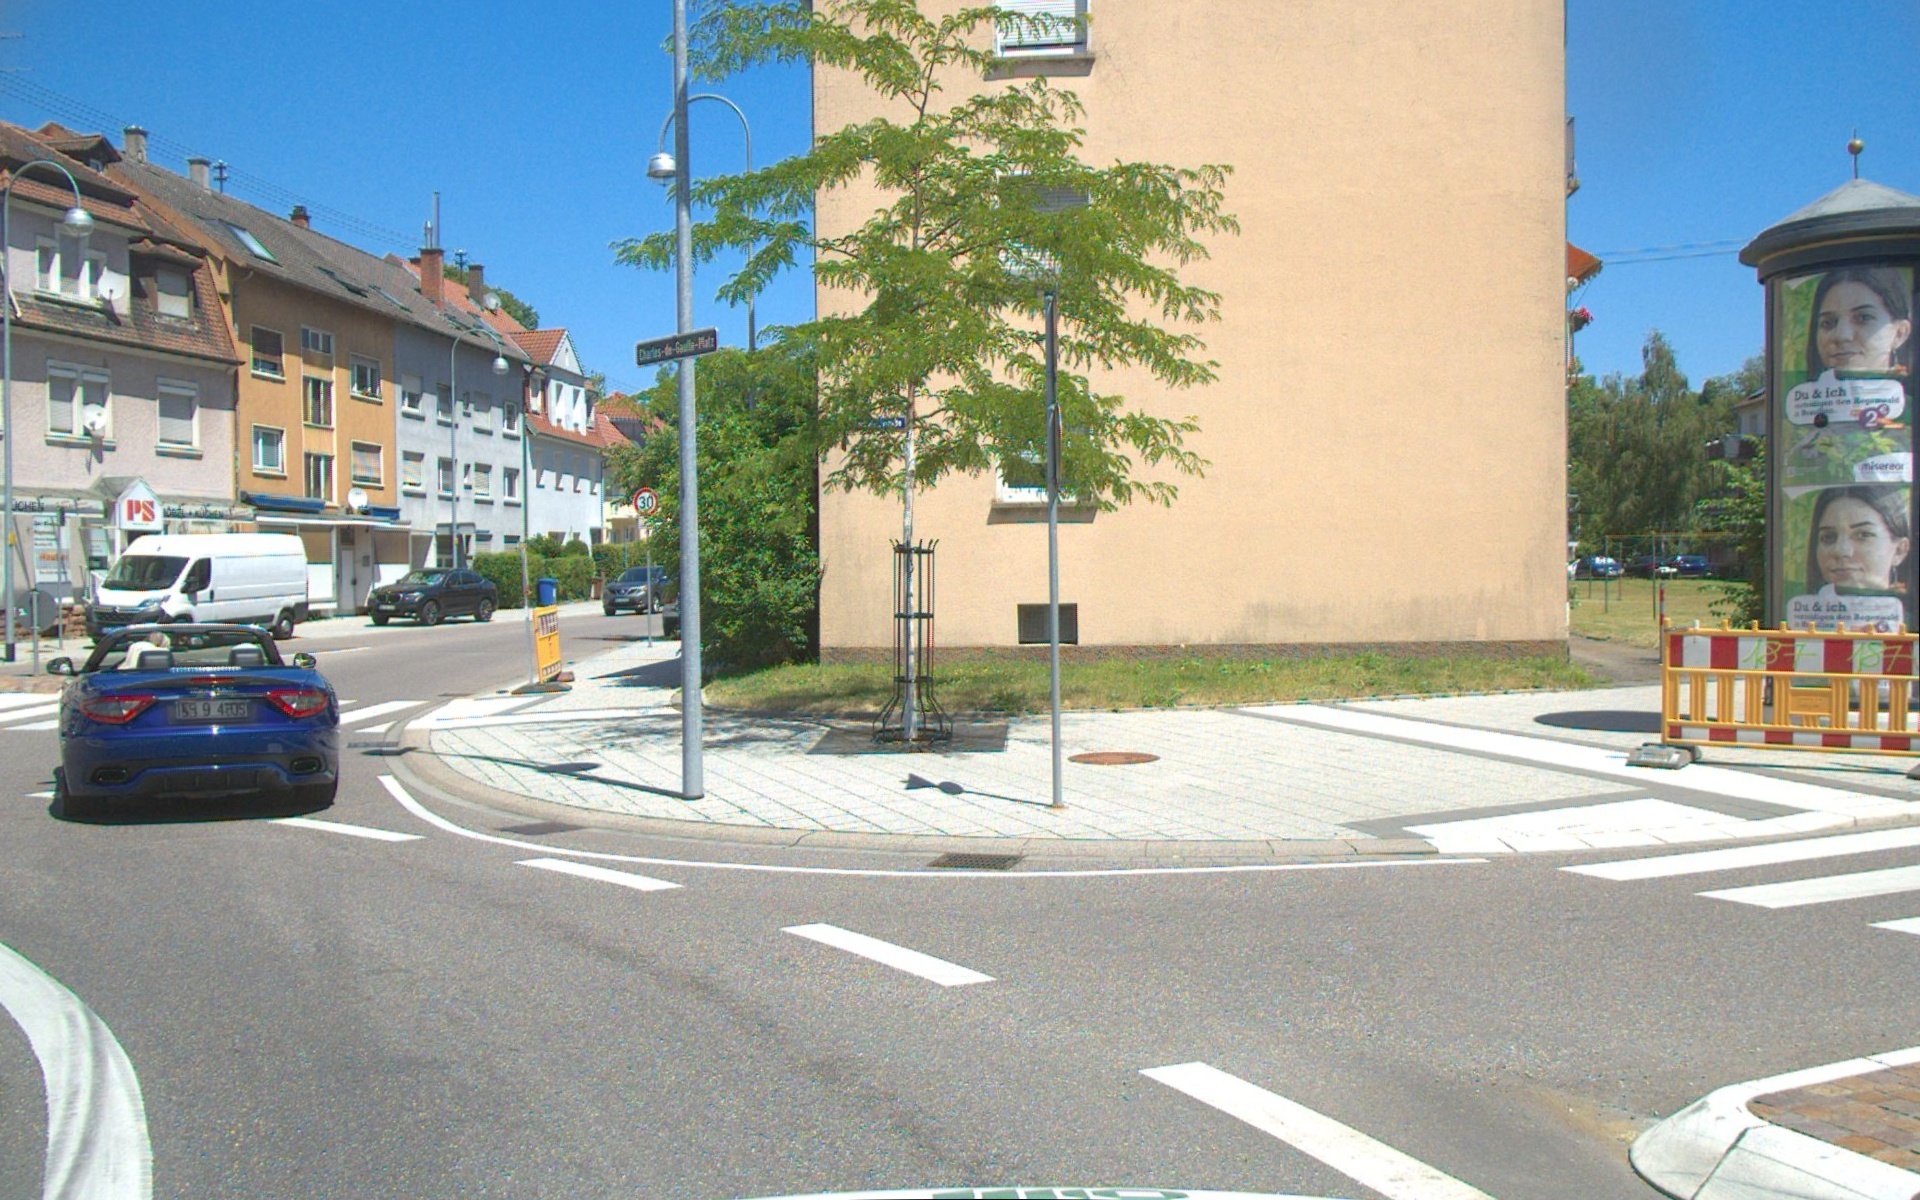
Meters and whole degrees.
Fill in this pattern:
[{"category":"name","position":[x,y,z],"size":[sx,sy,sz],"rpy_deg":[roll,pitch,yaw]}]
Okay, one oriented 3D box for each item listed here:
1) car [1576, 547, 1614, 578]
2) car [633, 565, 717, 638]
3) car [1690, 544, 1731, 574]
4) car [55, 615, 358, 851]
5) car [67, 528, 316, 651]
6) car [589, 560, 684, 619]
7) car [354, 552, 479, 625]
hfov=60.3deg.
[{"category":"car","position":[32.161,-1.895,83.692],"size":[1.703,1.461,3.710],"rpy_deg":[-2,0,22]},{"category":"car","position":[-7.041,-0.006,41.128],"size":[1.843,1.659,3.587],"rpy_deg":[0,2,-6]},{"category":"car","position":[38.794,-2.098,85.576],"size":[1.703,1.461,3.710],"rpy_deg":[-2,0,22]},{"category":"car","position":[-6.218,0.934,13.355],"size":[1.851,1.557,4.462],"rpy_deg":[1,-2,-29]},{"category":"car","position":[-17.608,-0.299,38.387],"size":[2.099,2.576,6.244],"rpy_deg":[1,1,9]},{"category":"car","position":[-10.942,-0.380,56.239],"size":[1.951,1.846,4.216],"rpy_deg":[-3,1,6]},{"category":"car","position":[-15.982,-0.357,48.832],"size":[2.024,2.049,4.003],"rpy_deg":[-1,1,6]}]
